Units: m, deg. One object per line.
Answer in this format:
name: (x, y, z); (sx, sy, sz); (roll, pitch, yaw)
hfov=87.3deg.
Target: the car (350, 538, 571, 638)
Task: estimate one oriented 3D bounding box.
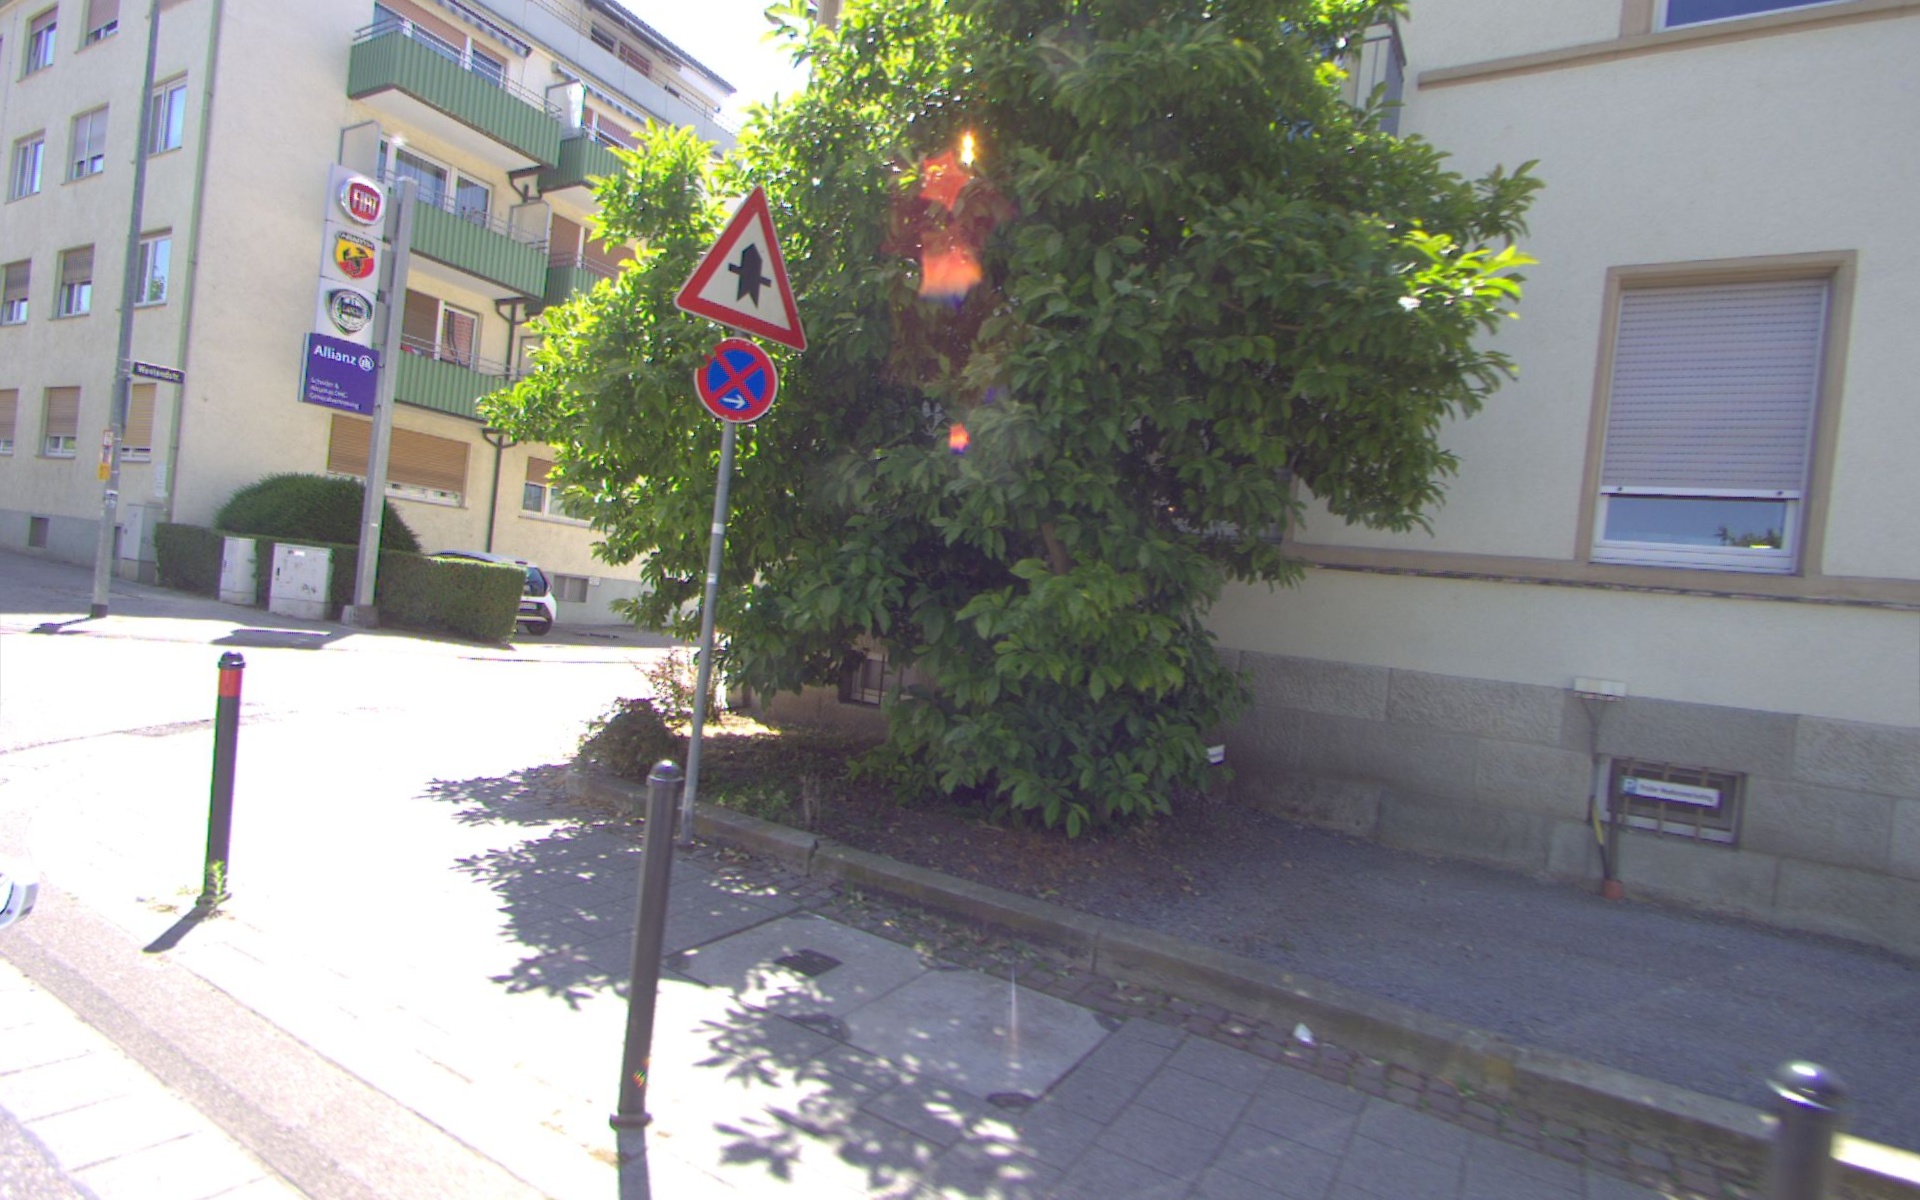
car: (-9.761, -0.234, 19.653); (3.787, 1.434, 1.841); (7, 0, 26)
